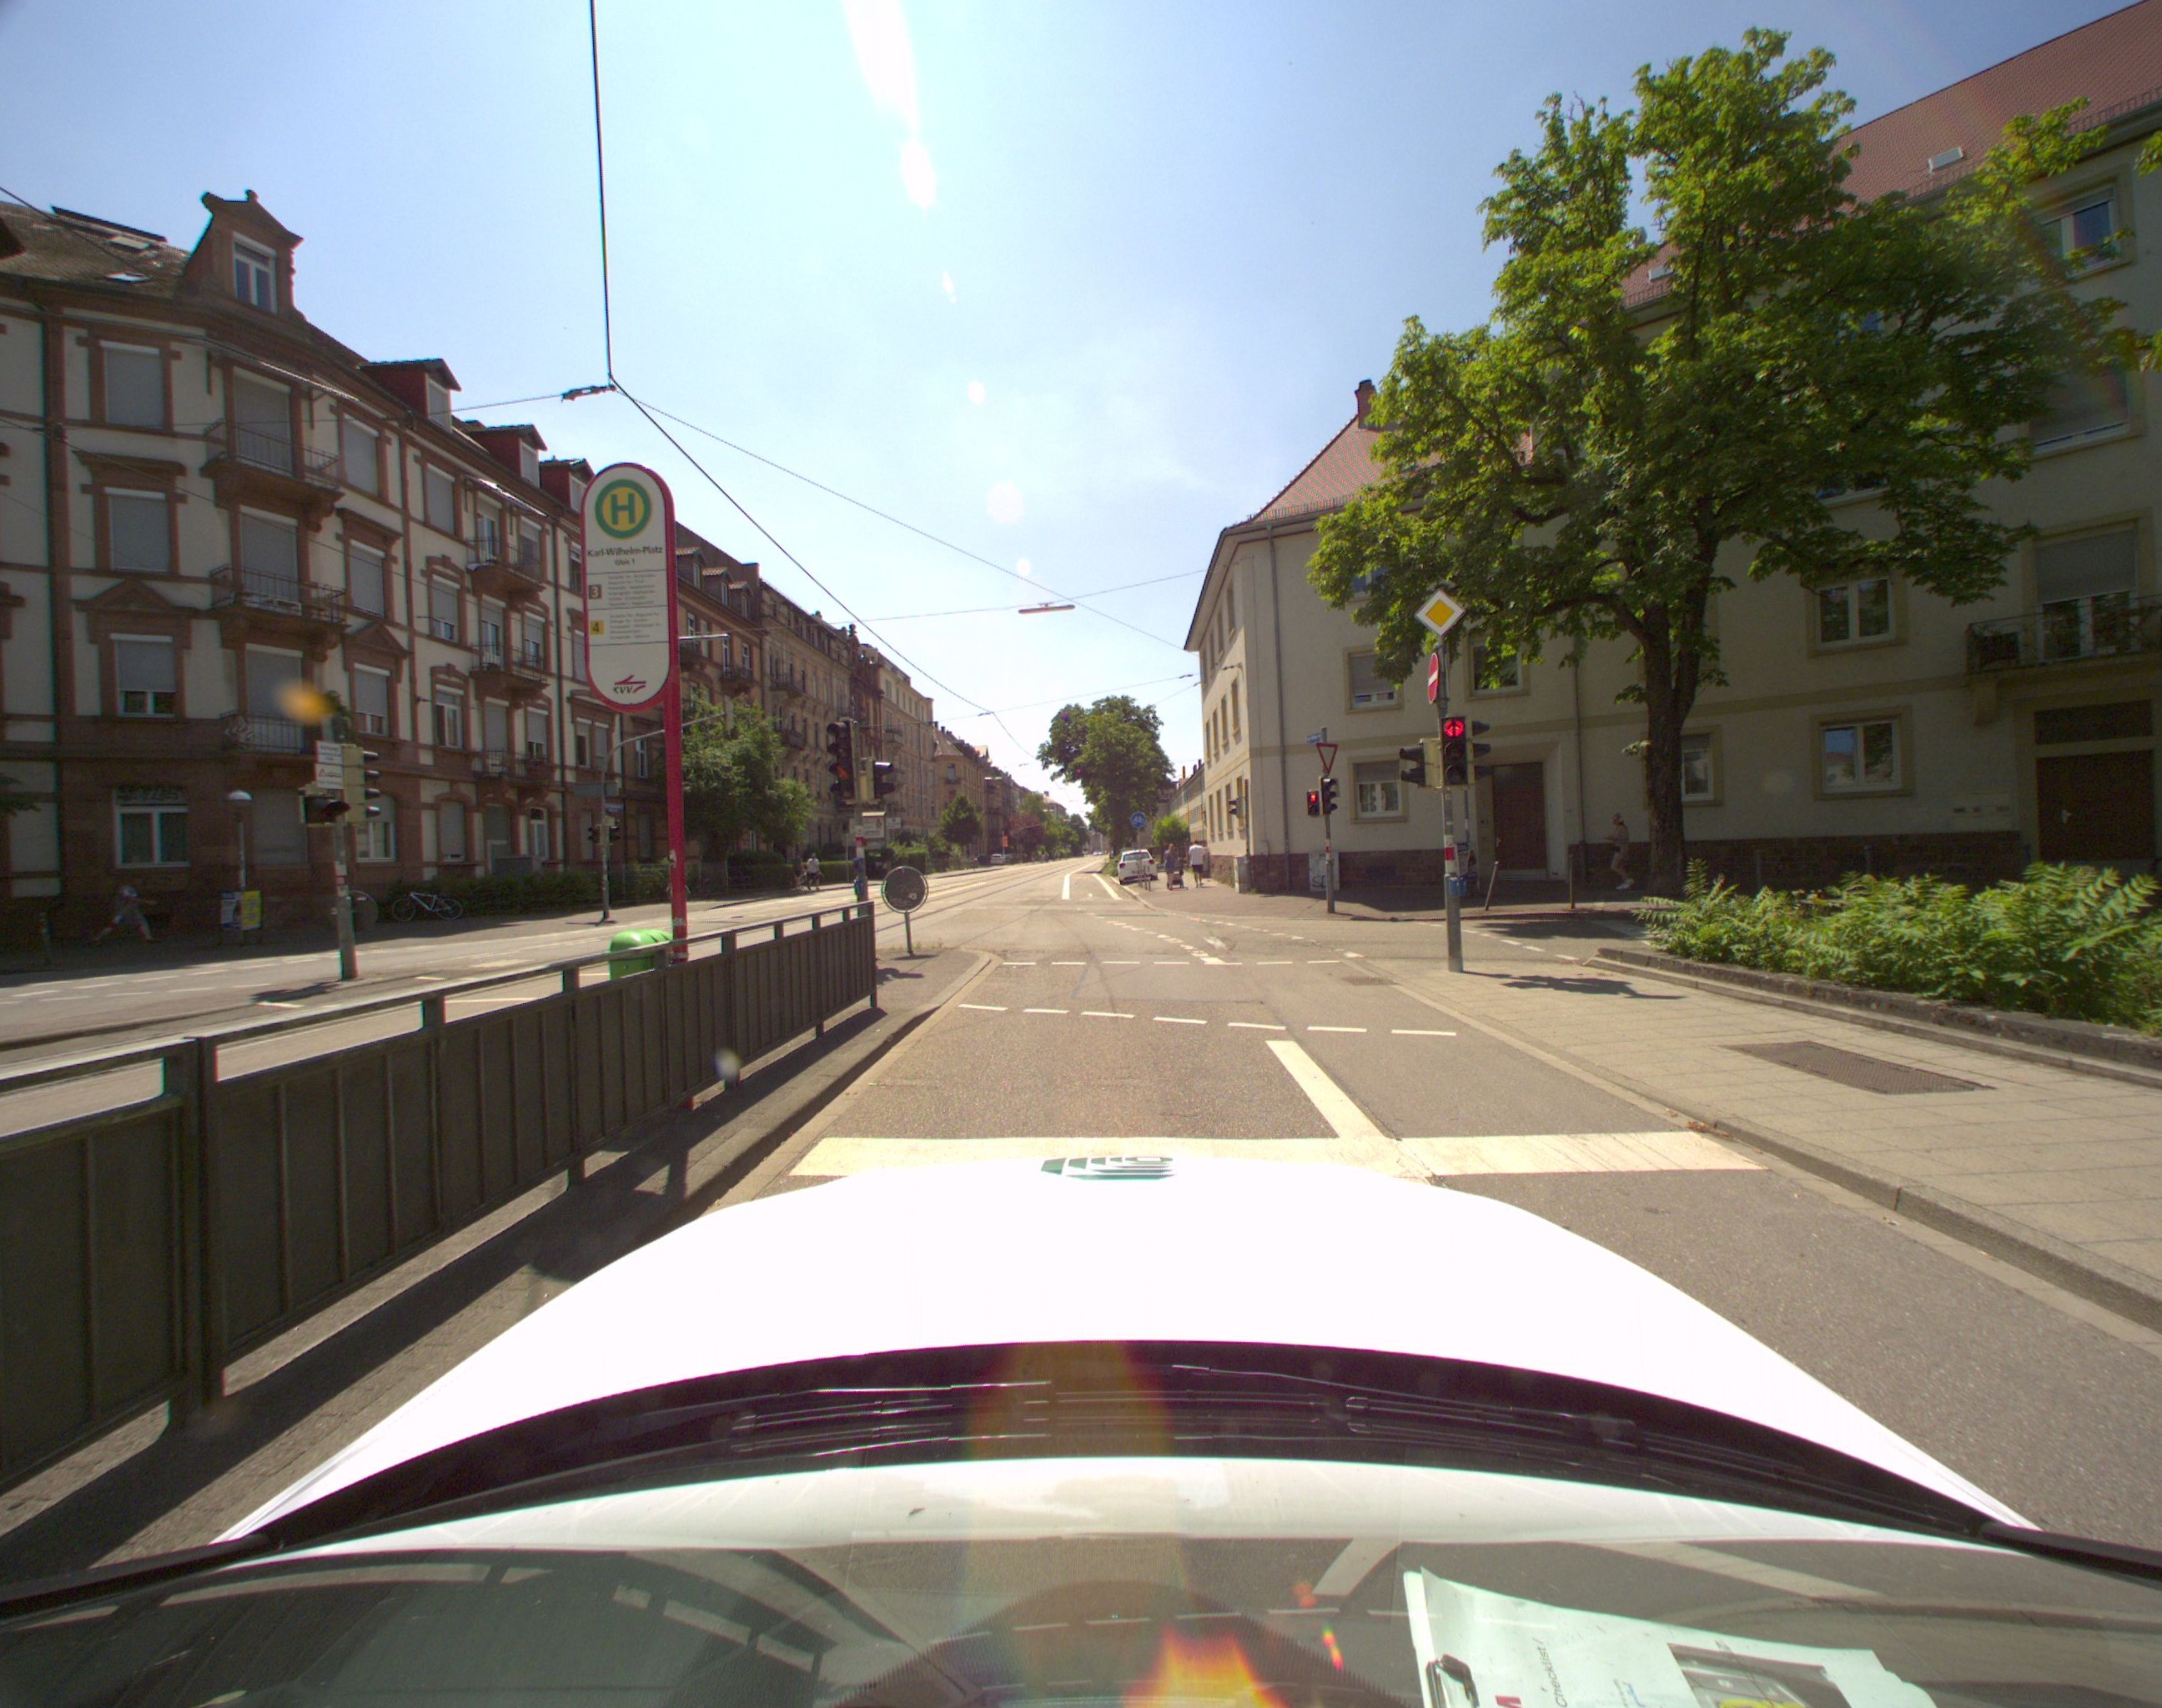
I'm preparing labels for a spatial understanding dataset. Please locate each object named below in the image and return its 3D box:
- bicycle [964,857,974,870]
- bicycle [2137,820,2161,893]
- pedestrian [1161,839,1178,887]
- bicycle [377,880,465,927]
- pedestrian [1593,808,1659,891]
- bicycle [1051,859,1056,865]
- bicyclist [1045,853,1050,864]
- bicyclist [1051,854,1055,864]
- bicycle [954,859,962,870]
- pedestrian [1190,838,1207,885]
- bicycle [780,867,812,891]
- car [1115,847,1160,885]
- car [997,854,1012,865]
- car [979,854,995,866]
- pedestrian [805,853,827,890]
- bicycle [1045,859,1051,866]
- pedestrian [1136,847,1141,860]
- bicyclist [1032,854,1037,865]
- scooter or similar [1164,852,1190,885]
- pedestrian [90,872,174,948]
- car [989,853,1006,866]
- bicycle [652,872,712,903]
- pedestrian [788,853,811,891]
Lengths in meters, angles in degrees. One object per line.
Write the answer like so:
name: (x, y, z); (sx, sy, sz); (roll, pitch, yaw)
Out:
bicycle: (-11.711, 0.957, 85.137); (0.675, 1.278, 1.918); (-2, 0, -1)
bicycle: (17.010, 0.023, 12.085); (0.527, 1.104, 1.589); (-2, 0, -34)
pedestrian: (3.091, 0.321, 28.522); (0.554, 1.645, 0.678); (0, -1, 6)
bicycle: (-19.555, 1.442, 24.161); (0.557, 1.294, 1.975); (-1, -1, 43)
pedestrian: (11.996, -0.091, 17.946); (1.043, 1.690, 0.658); (-6, 3, 33)
bicycle: (-5.472, 1.588, 160.083); (0.724, 1.123, 2.087); (0, -1, 4)
bicyclist: (-5.625, 0.782, 138.334); (0.724, 1.768, 1.080); (0, -1, 3)
bicyclist: (-5.480, 0.955, 160.059); (0.724, 1.818, 1.080); (0, -1, 3)
bicycle: (-12.155, 1.030, 80.500); (0.677, 1.064, 1.912); (-2, 0, -9)
pedestrian: (4.135, 0.256, 28.700); (0.554, 1.645, 0.678); (0, -1, 6)
bicycle: (-14.392, 1.257, 41.257); (0.936, 1.136, 2.767); (0, -1, -7)
car: (2.525, 0.532, 37.411); (1.808, 1.516, 4.001); (-4, -1, 2)
car: (-11.662, 0.873, 124.330); (1.912, 1.715, 4.001); (0, -1, 2)
car: (-14.334, 0.894, 124.468); (1.912, 1.715, 4.001); (0, -1, 2)
pedestrian: (-13.091, 0.853, 40.252); (0.813, 1.822, 0.873); (0, 1, 0)
bicycle: (-5.628, 1.412, 138.323); (0.724, 1.123, 2.087); (0, -1, 4)
pedestrian: (6.894, -0.019, 97.804); (0.519, 1.562, 0.573); (-2, 0, 1)
bicyclist: (-6.971, 0.808, 122.110); (0.724, 1.629, 1.080); (0, -1, 3)
scooter or similar: (3.465, 0.513, 29.392); (0.551, 1.155, 1.212); (-1, -1, 26)
pedestrian: (-22.294, 1.295, 19.158); (1.066, 1.689, 0.715); (-2, 0, -33)
car: (-11.882, 0.808, 116.066); (1.912, 1.715, 4.001); (0, -1, 2)
bicycle: (-15.670, 1.304, 32.083); (0.934, 1.136, 2.774); (0, -1, 1)
pedestrian: (-13.880, 0.865, 40.180); (0.813, 1.822, 0.873); (0, 1, 0)
